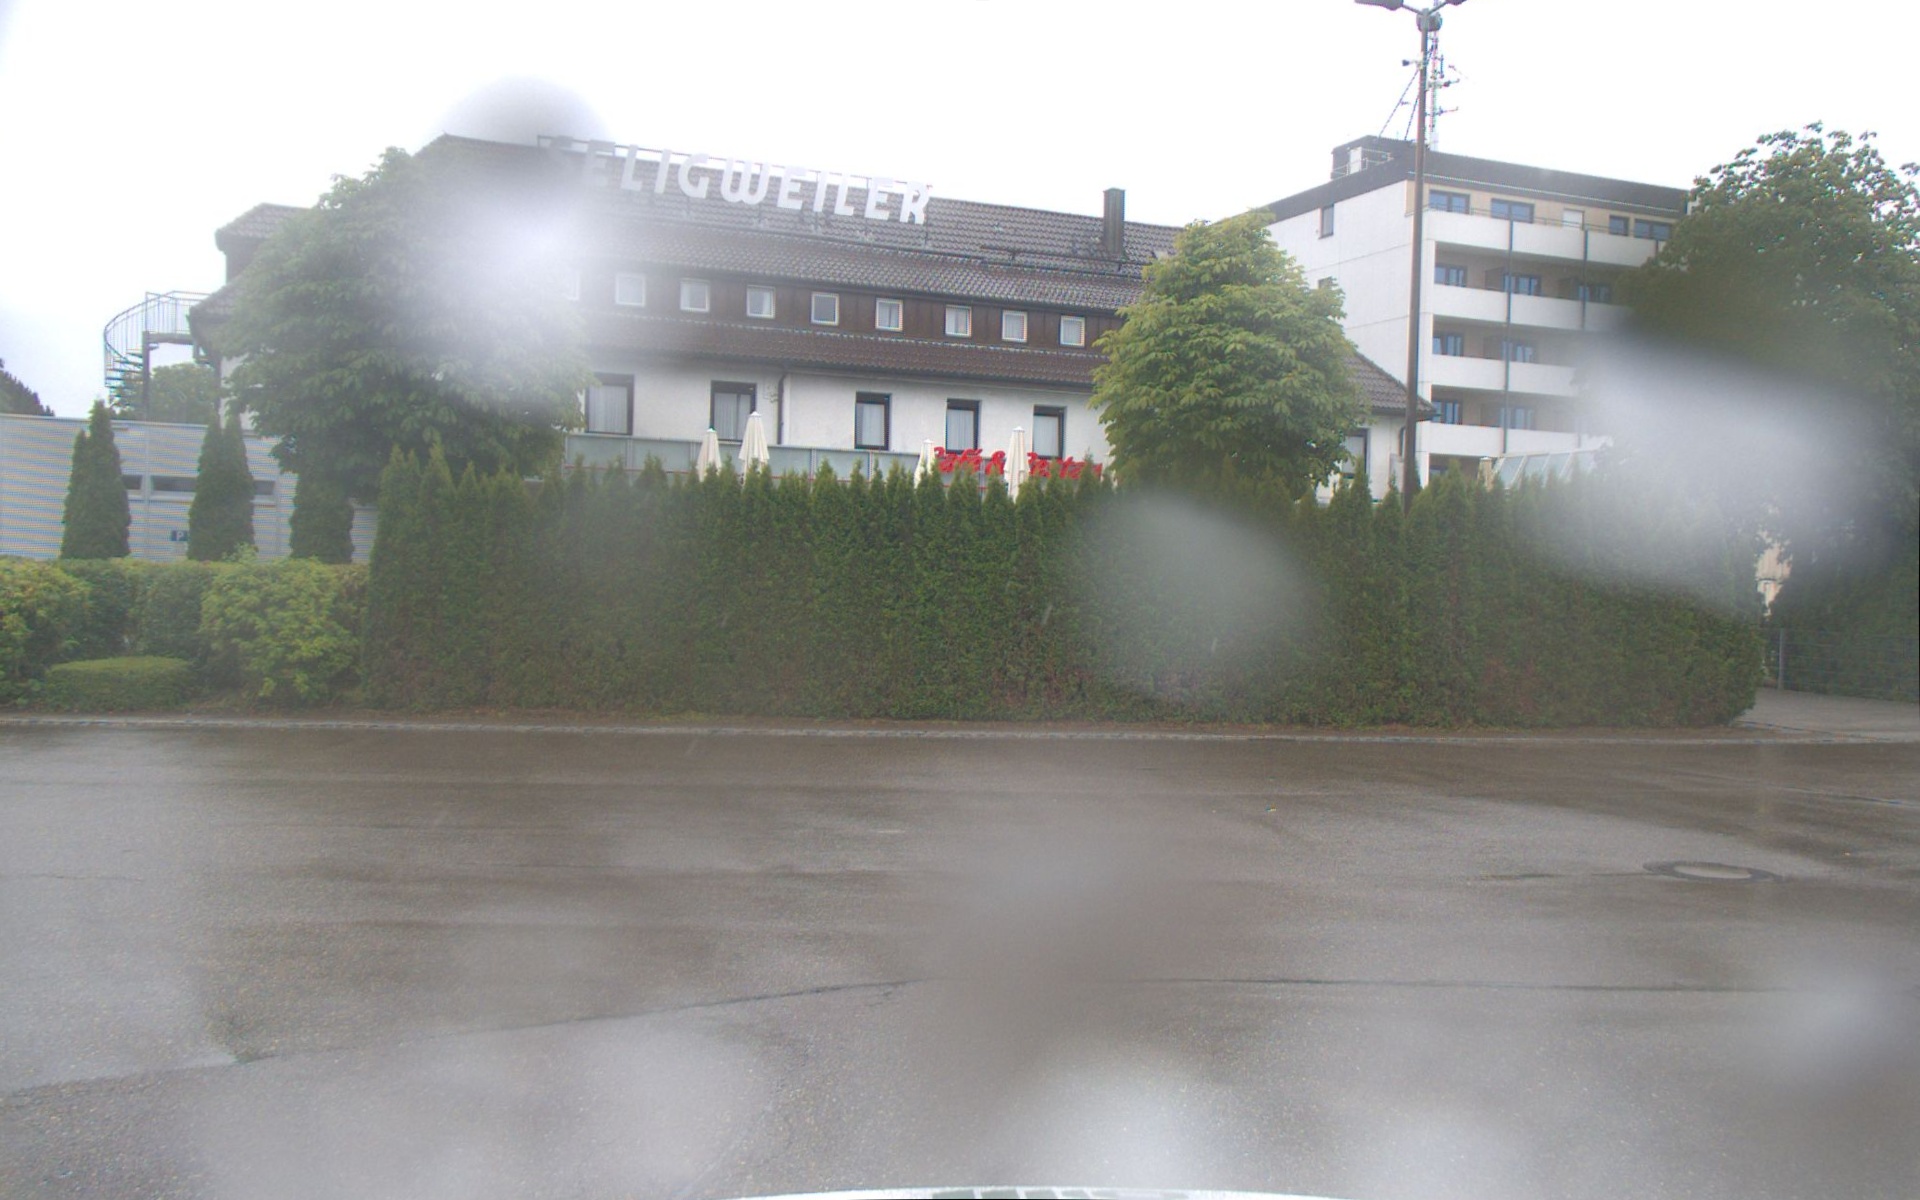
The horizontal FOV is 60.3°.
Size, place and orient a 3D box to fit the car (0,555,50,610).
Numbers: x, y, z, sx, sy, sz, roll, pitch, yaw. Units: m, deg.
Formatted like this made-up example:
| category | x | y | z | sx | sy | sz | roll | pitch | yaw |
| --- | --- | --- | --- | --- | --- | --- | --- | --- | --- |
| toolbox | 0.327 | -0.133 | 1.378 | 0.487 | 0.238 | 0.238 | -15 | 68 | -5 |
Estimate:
| category | x | y | z | sx | sy | sz | roll | pitch | yaw |
| --- | --- | --- | --- | --- | --- | --- | --- | --- | --- |
| car | -27.774 | -0.499 | 46.018 | 4.120 | 1.523 | 1.705 | -1 | 2 | -24 |
